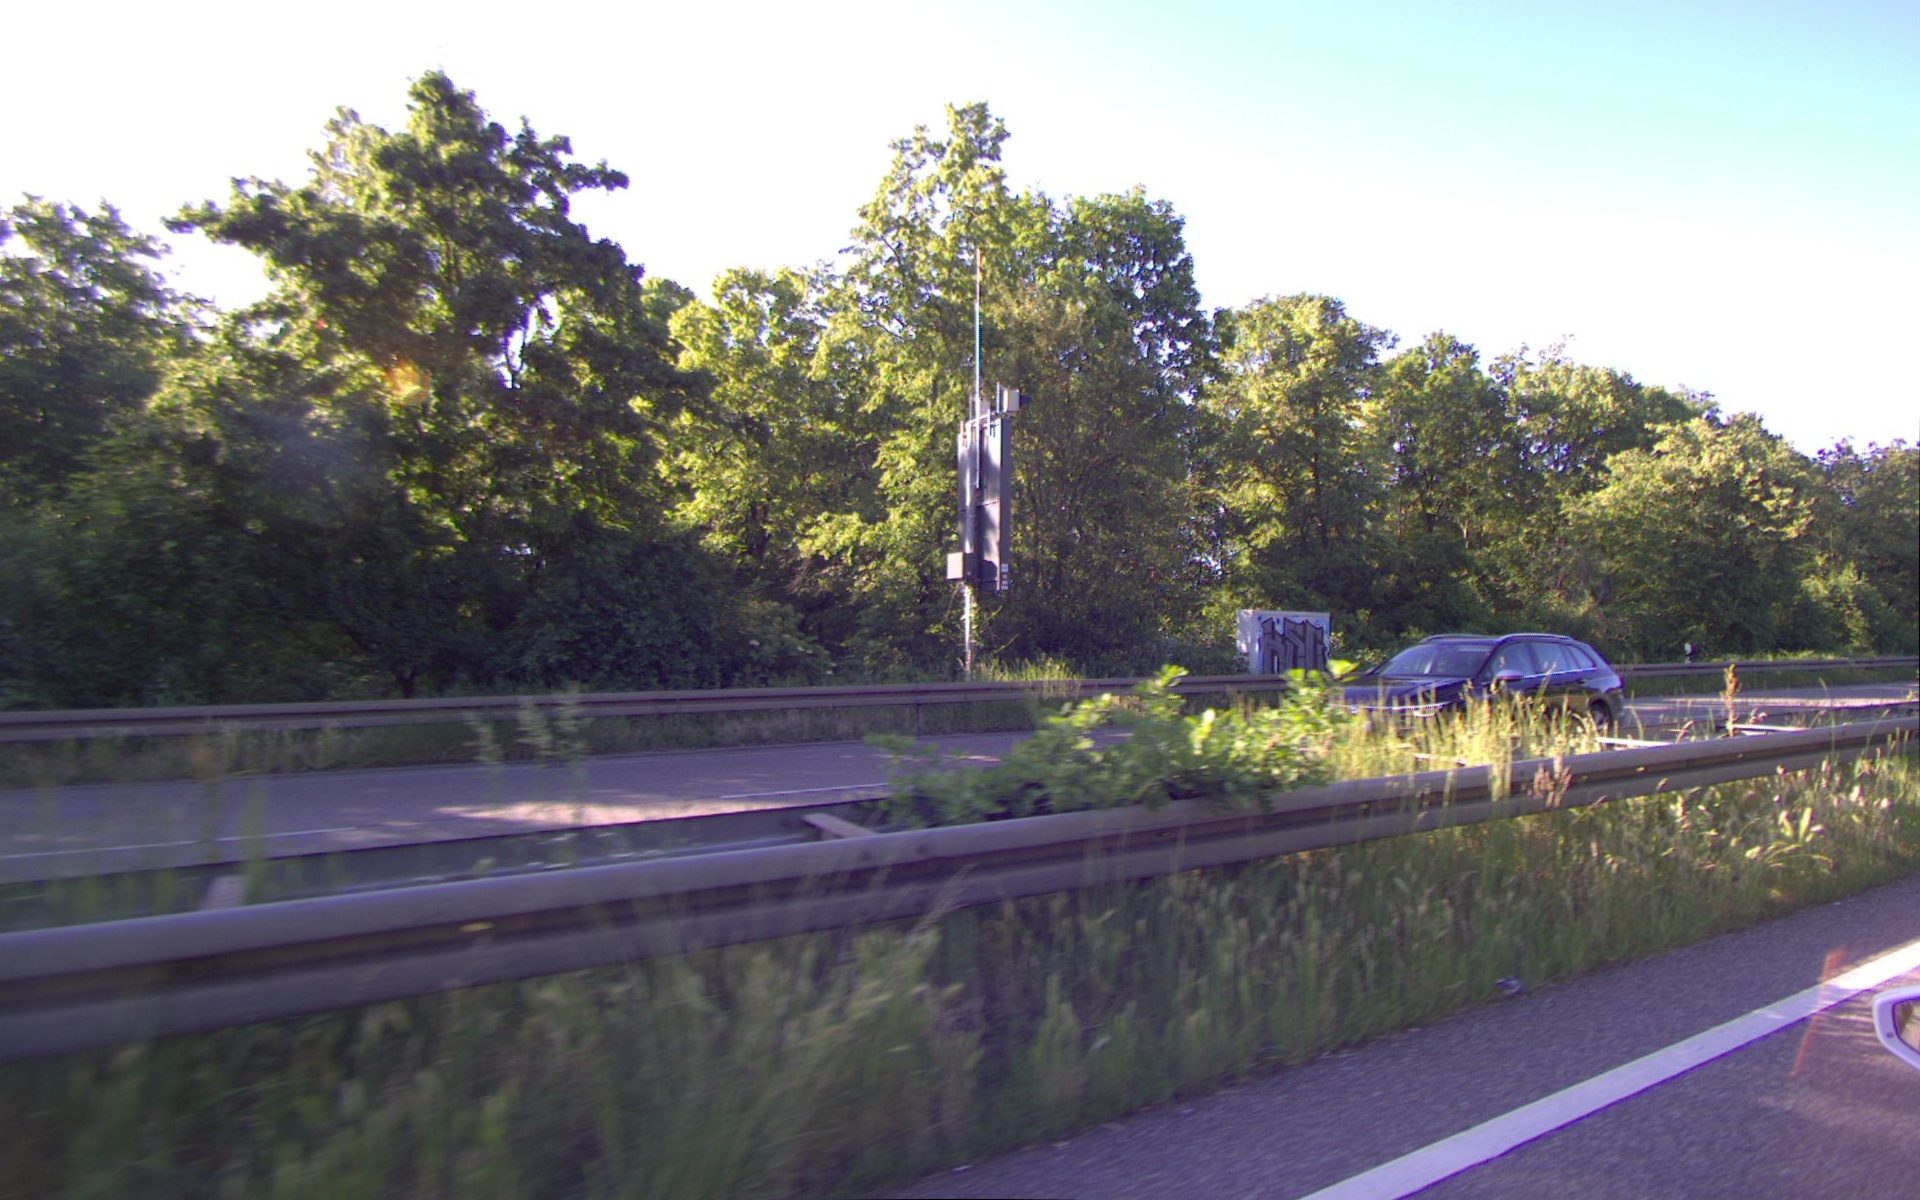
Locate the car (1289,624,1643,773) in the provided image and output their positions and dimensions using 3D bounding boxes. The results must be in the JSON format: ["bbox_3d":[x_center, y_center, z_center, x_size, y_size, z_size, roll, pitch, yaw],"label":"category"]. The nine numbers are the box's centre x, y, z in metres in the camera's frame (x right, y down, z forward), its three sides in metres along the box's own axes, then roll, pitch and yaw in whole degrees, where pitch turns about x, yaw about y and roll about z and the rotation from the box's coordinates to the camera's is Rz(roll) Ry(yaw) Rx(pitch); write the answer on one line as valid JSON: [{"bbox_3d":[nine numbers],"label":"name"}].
[{"bbox_3d":[6.280,1.082,12.339,4.552,1.550,1.611,1,-2,-29],"label":"car"}]
